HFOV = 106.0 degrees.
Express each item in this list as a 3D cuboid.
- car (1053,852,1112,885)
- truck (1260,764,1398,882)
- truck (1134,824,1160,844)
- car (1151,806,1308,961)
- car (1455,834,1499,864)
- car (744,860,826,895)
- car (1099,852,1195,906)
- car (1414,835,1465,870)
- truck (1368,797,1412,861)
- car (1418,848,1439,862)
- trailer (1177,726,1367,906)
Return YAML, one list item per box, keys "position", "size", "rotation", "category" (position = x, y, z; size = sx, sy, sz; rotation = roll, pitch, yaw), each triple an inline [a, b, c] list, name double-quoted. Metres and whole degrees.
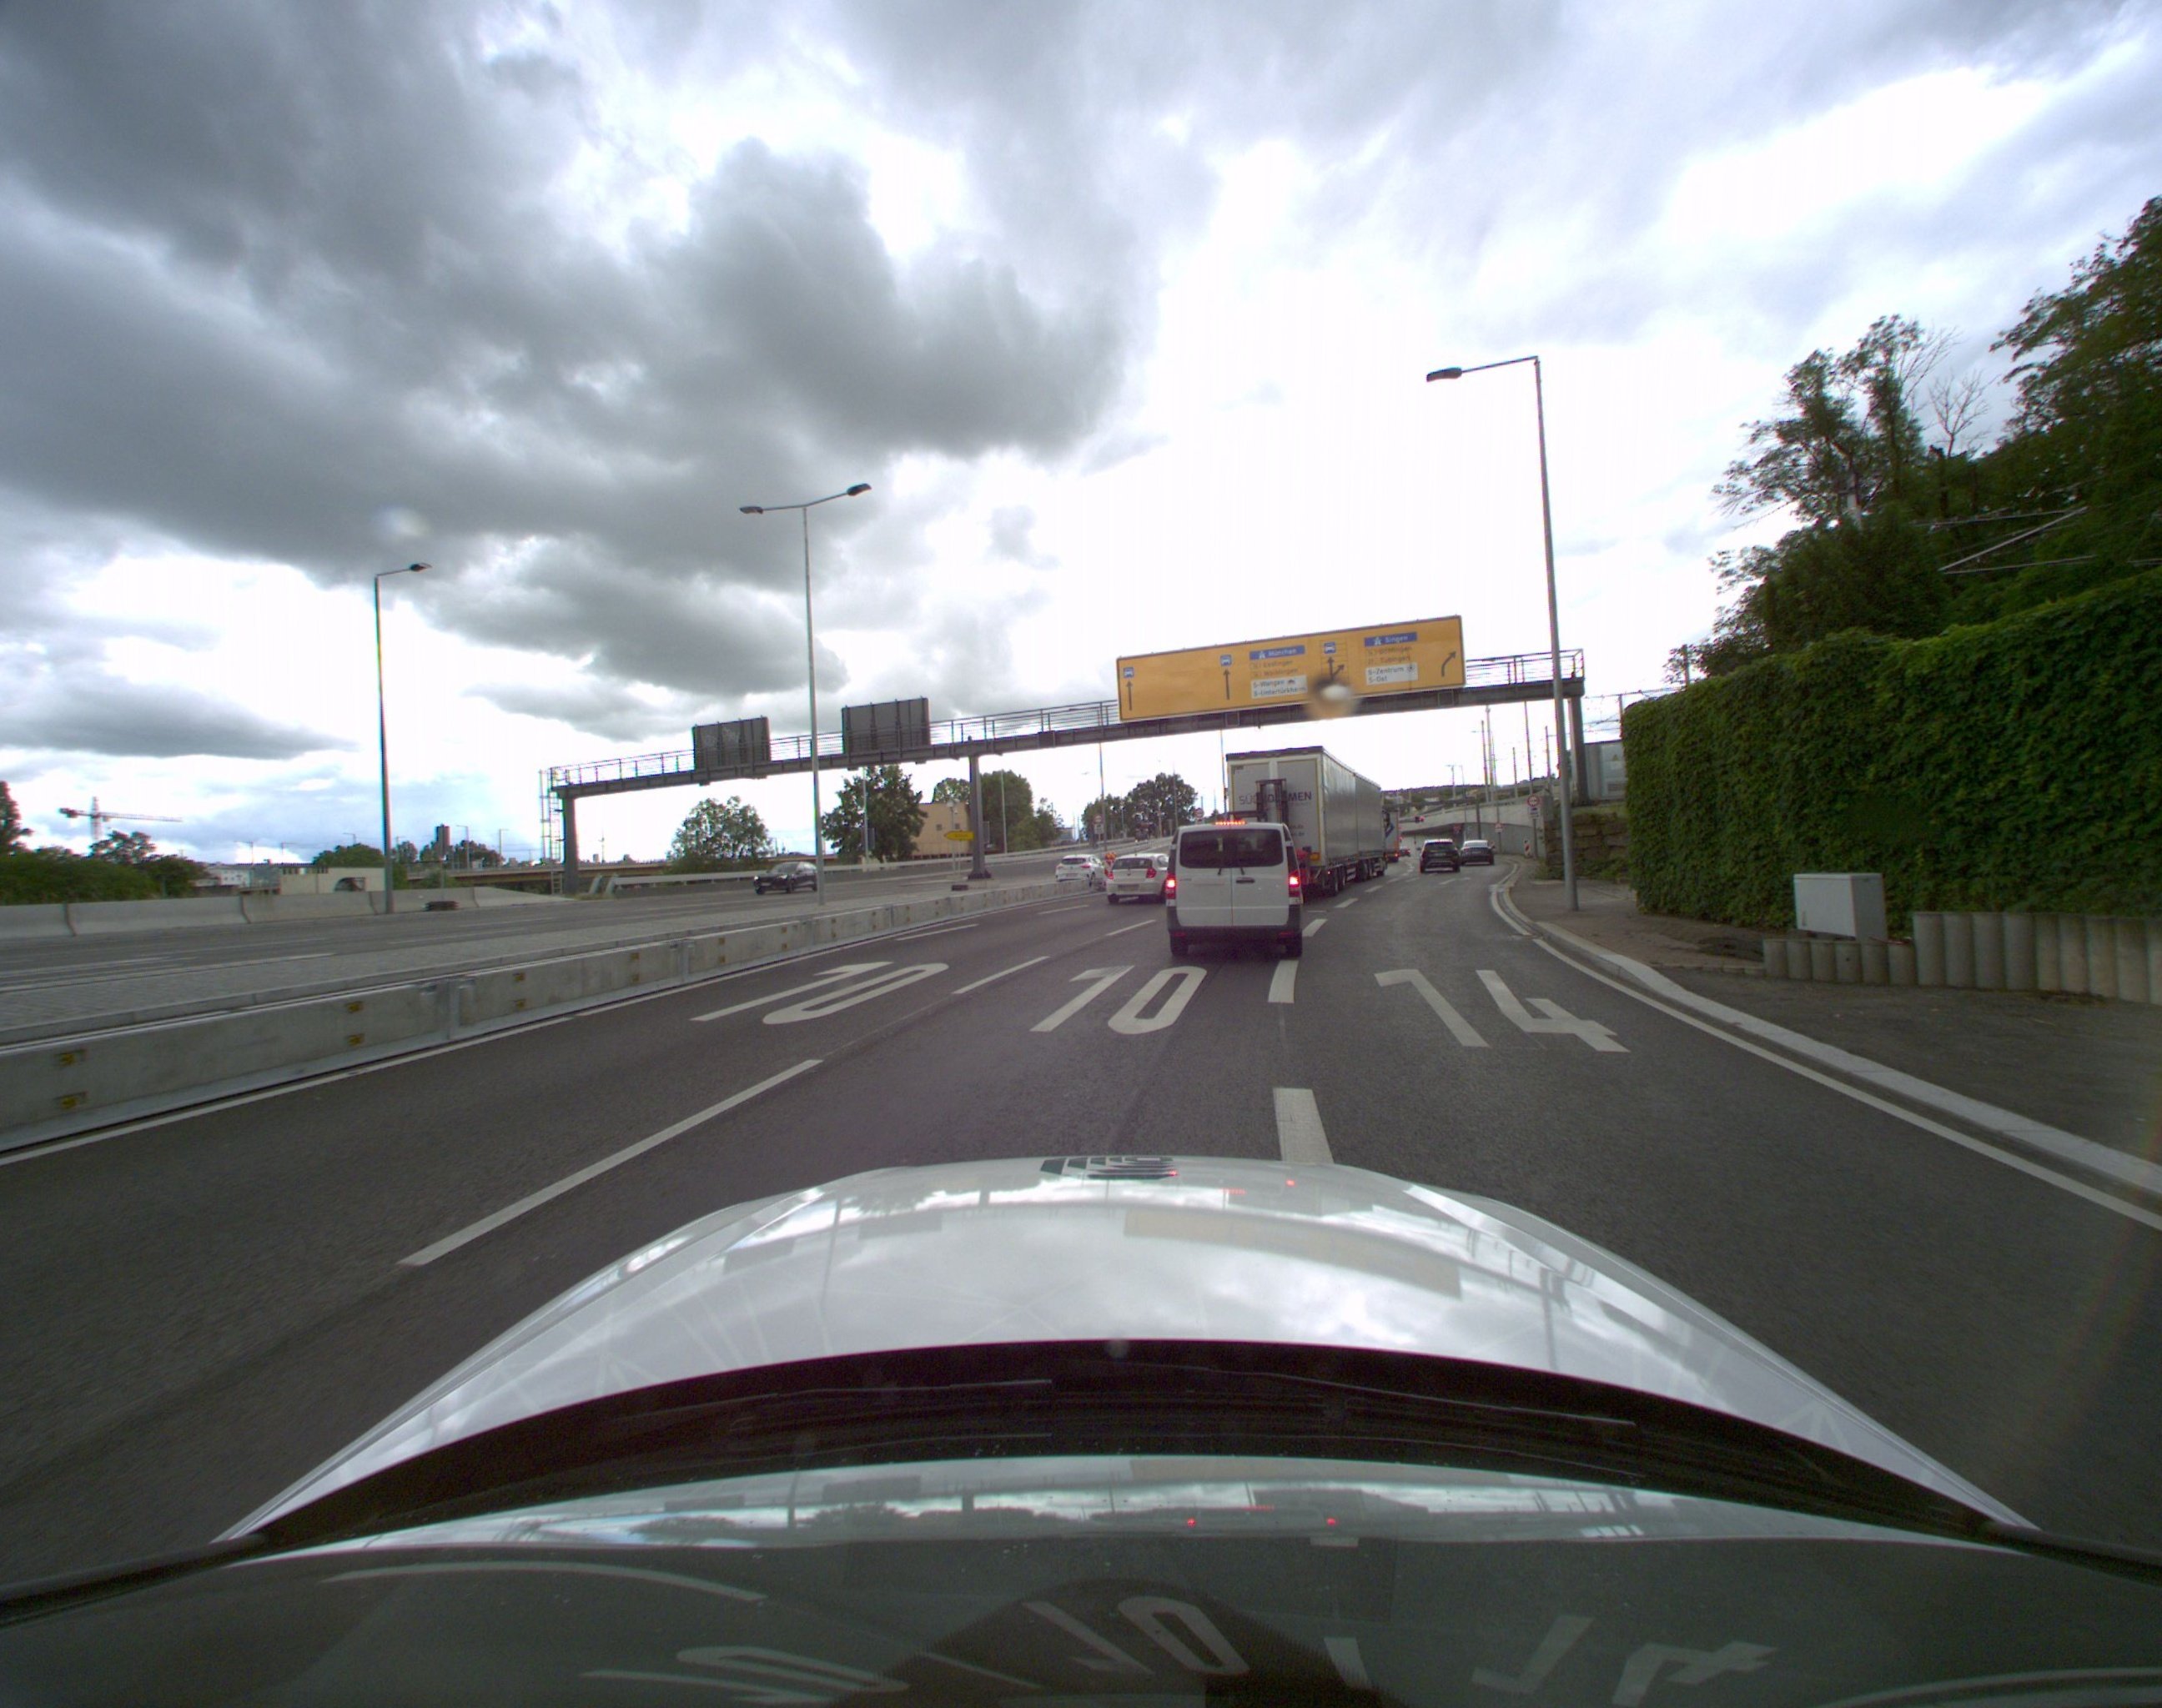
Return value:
- position: [0.139, 0.642, 37.809]
  size: [1.730, 1.432, 3.792]
  rotation: [1, 0, 16]
  category: "car"
- position: [10.886, -1.117, 34.586]
  size: [3.690, 4.141, 11.049]
  rotation: [-2, 0, 26]
  category: "truck"
- position: [12.090, -3.702, 149.239]
  size: [2.712, 3.389, 10.665]
  rotation: [-1, 3, 15]
  category: "truck"
- position: [2.526, 0.407, 13.242]
  size: [1.980, 1.990, 5.218]
  rotation: [-2, 0, 13]
  category: "car"
- position: [22.962, -0.296, 47.320]
  size: [1.877, 1.626, 4.020]
  rotation: [-1, -1, 20]
  category: "car"
- position: [-14.658, 1.130, 40.601]
  size: [1.981, 1.585, 4.149]
  rotation: [1, 0, 11]
  category: "car"
- position: [2.075, 0.678, 24.487]
  size: [1.728, 1.432, 4.022]
  rotation: [1, 0, 22]
  category: "car"
- position: [17.107, -0.033, 38.992]
  size: [1.877, 1.520, 4.019]
  rotation: [-1, -1, 19]
  category: "car"
- position: [24.802, -1.853, 65.721]
  size: [3.038, 4.803, 9.202]
  rotation: [1, 0, 19]
  category: "truck"
- position: [49.429, 0.115, 115.837]
  size: [1.974, 1.849, 4.025]
  rotation: [-1, -1, 33]
  category: "car"
- position: [6.296, -0.883, 24.673]
  size: [3.691, 4.141, 11.043]
  rotation: [-2, 0, 23]
  category: "trailer"
